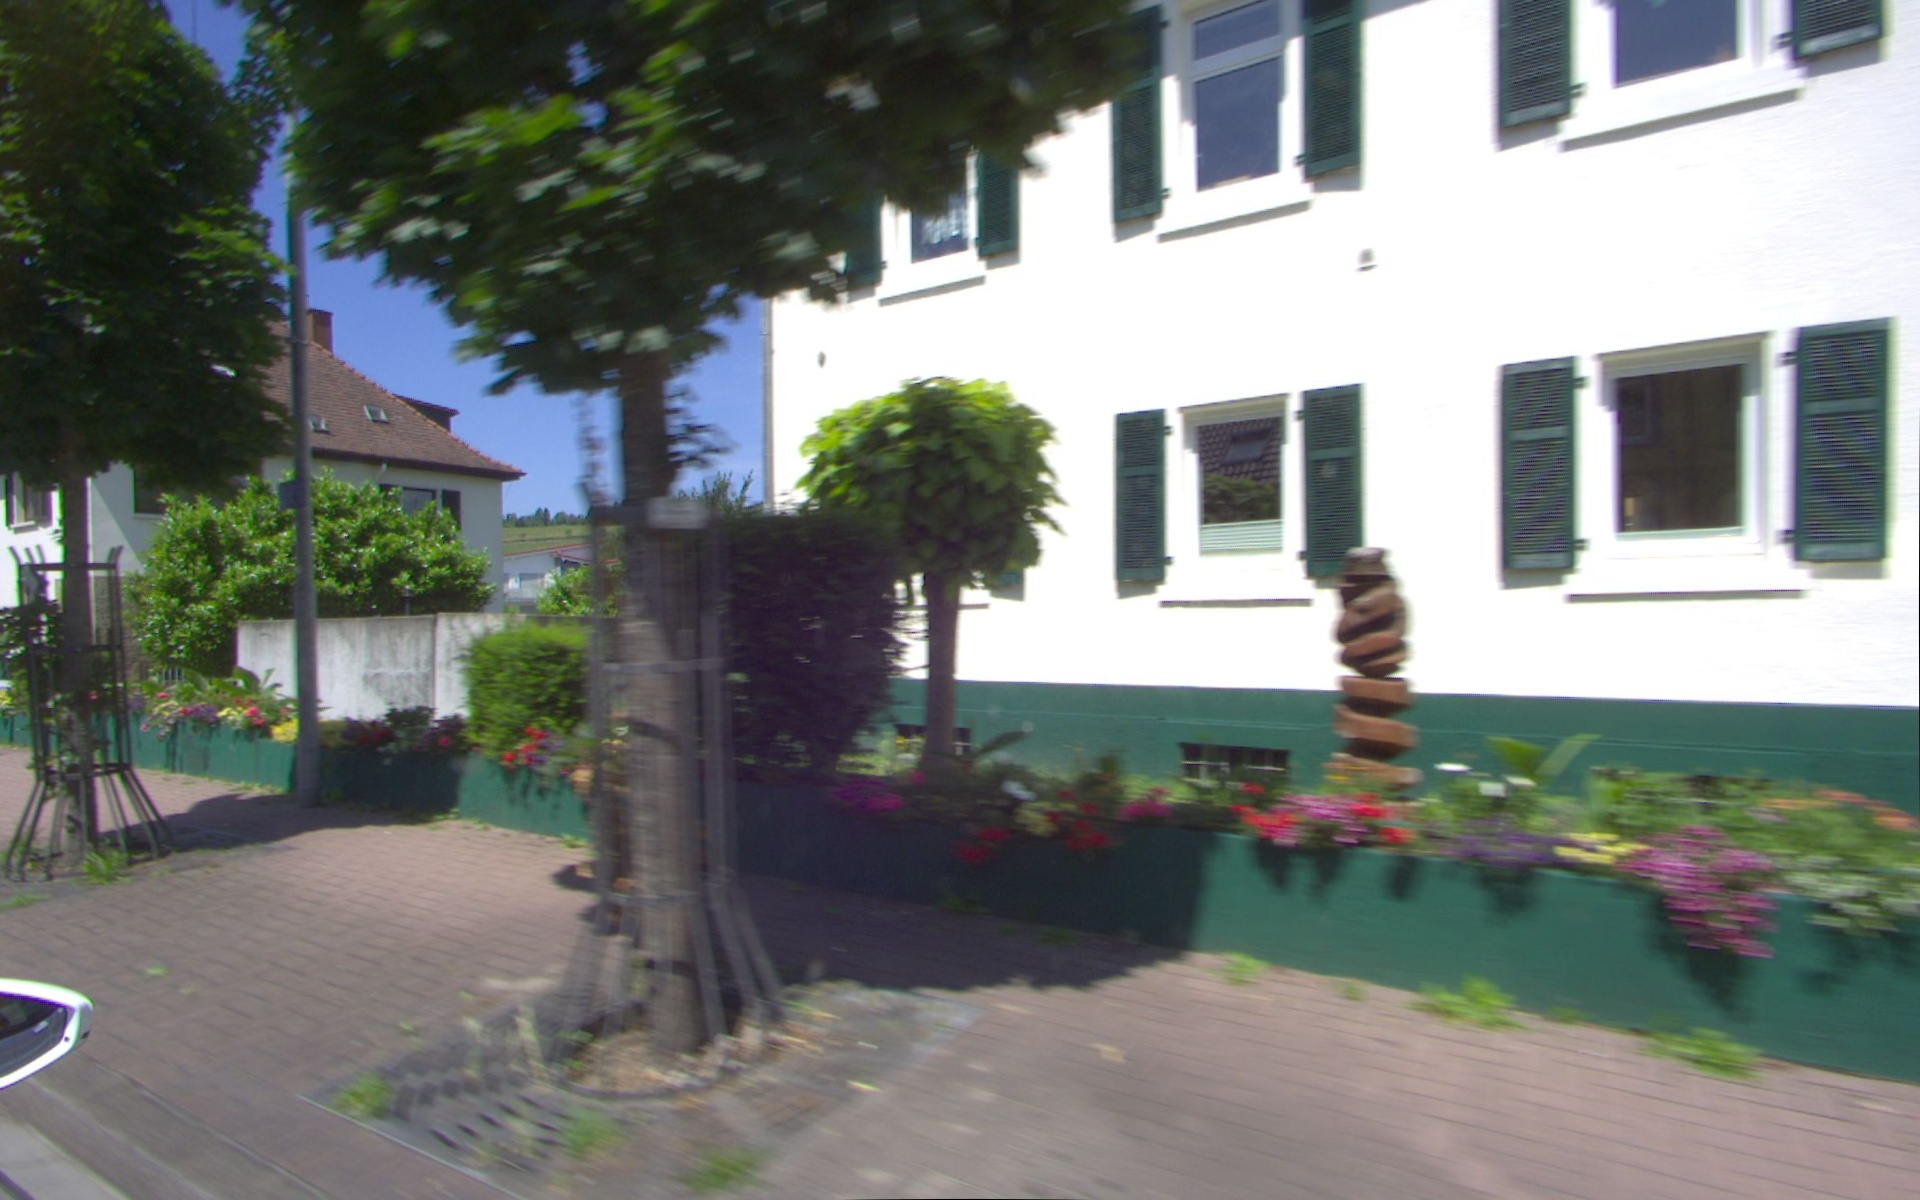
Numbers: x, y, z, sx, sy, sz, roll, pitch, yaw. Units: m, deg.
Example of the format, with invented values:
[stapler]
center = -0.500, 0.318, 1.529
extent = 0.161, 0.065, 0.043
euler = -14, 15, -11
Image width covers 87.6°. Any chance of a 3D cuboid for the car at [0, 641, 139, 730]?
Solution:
[car]
center = -20.001, 1.679, 20.688
extent = 1.880, 1.603, 4.175
euler = -1, -11, 32
